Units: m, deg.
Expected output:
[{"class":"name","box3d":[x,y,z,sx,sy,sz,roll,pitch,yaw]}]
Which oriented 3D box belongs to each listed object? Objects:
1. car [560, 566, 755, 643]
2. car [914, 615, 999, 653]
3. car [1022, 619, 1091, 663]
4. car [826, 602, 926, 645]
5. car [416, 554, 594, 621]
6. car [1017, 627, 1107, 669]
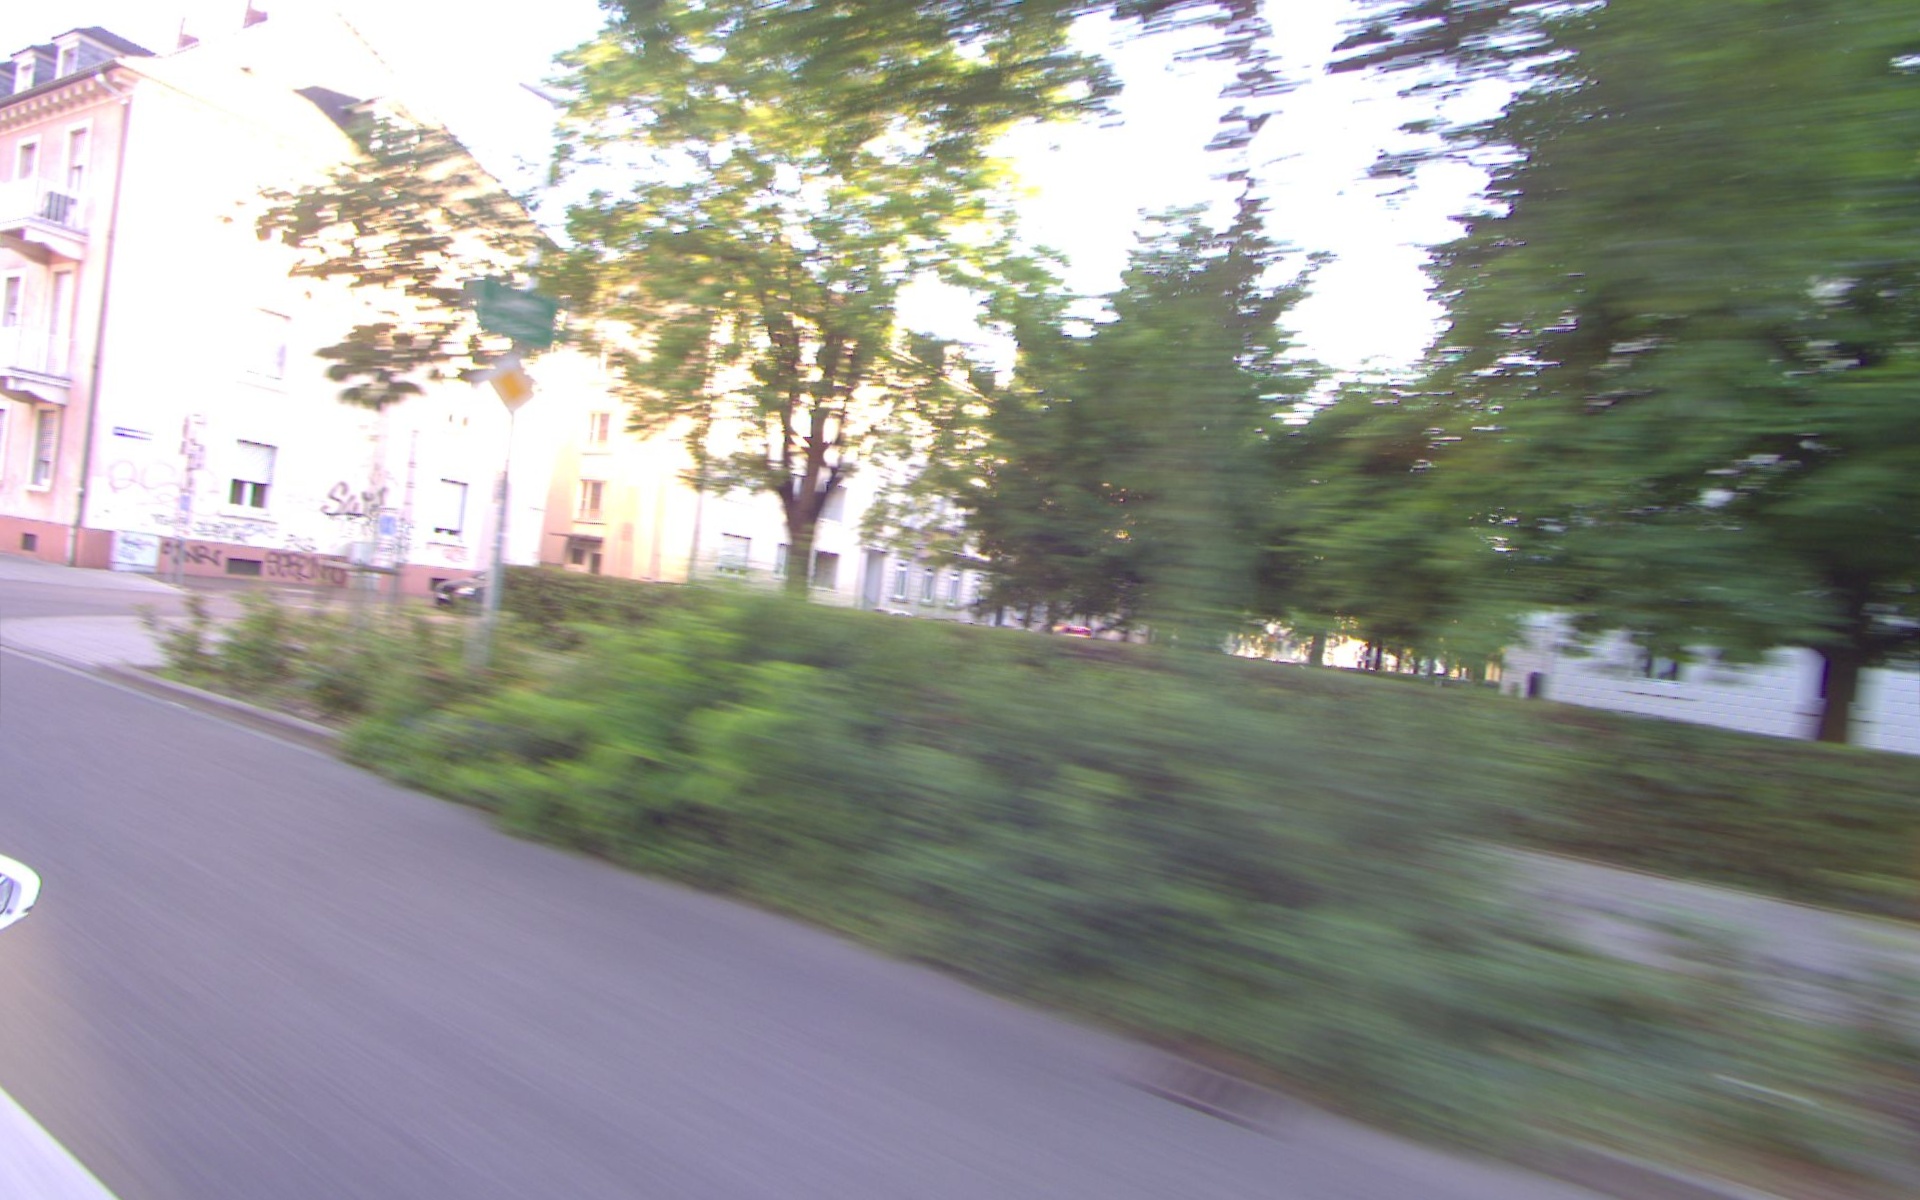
[{"class":"car","box3d":[-7.214,0.157,24.391,1.841,1.500,4.241,7,1,34]},{"class":"car","box3d":[-0.122,1.628,47.993,1.842,1.500,4.239,7,1,36]},{"class":"car","box3d":[5.506,2.348,57.019,1.842,2.166,4.239,7,1,36]},{"class":"car","box3d":[-3.534,1.050,43.135,1.842,1.500,4.239,7,1,36]},{"class":"car","box3d":[-12.933,-0.308,28.855,1.841,1.500,4.241,7,1,34]},{"class":"car","box3d":[4.366,2.046,42.551,1.841,1.500,4.241,7,1,34]}]
